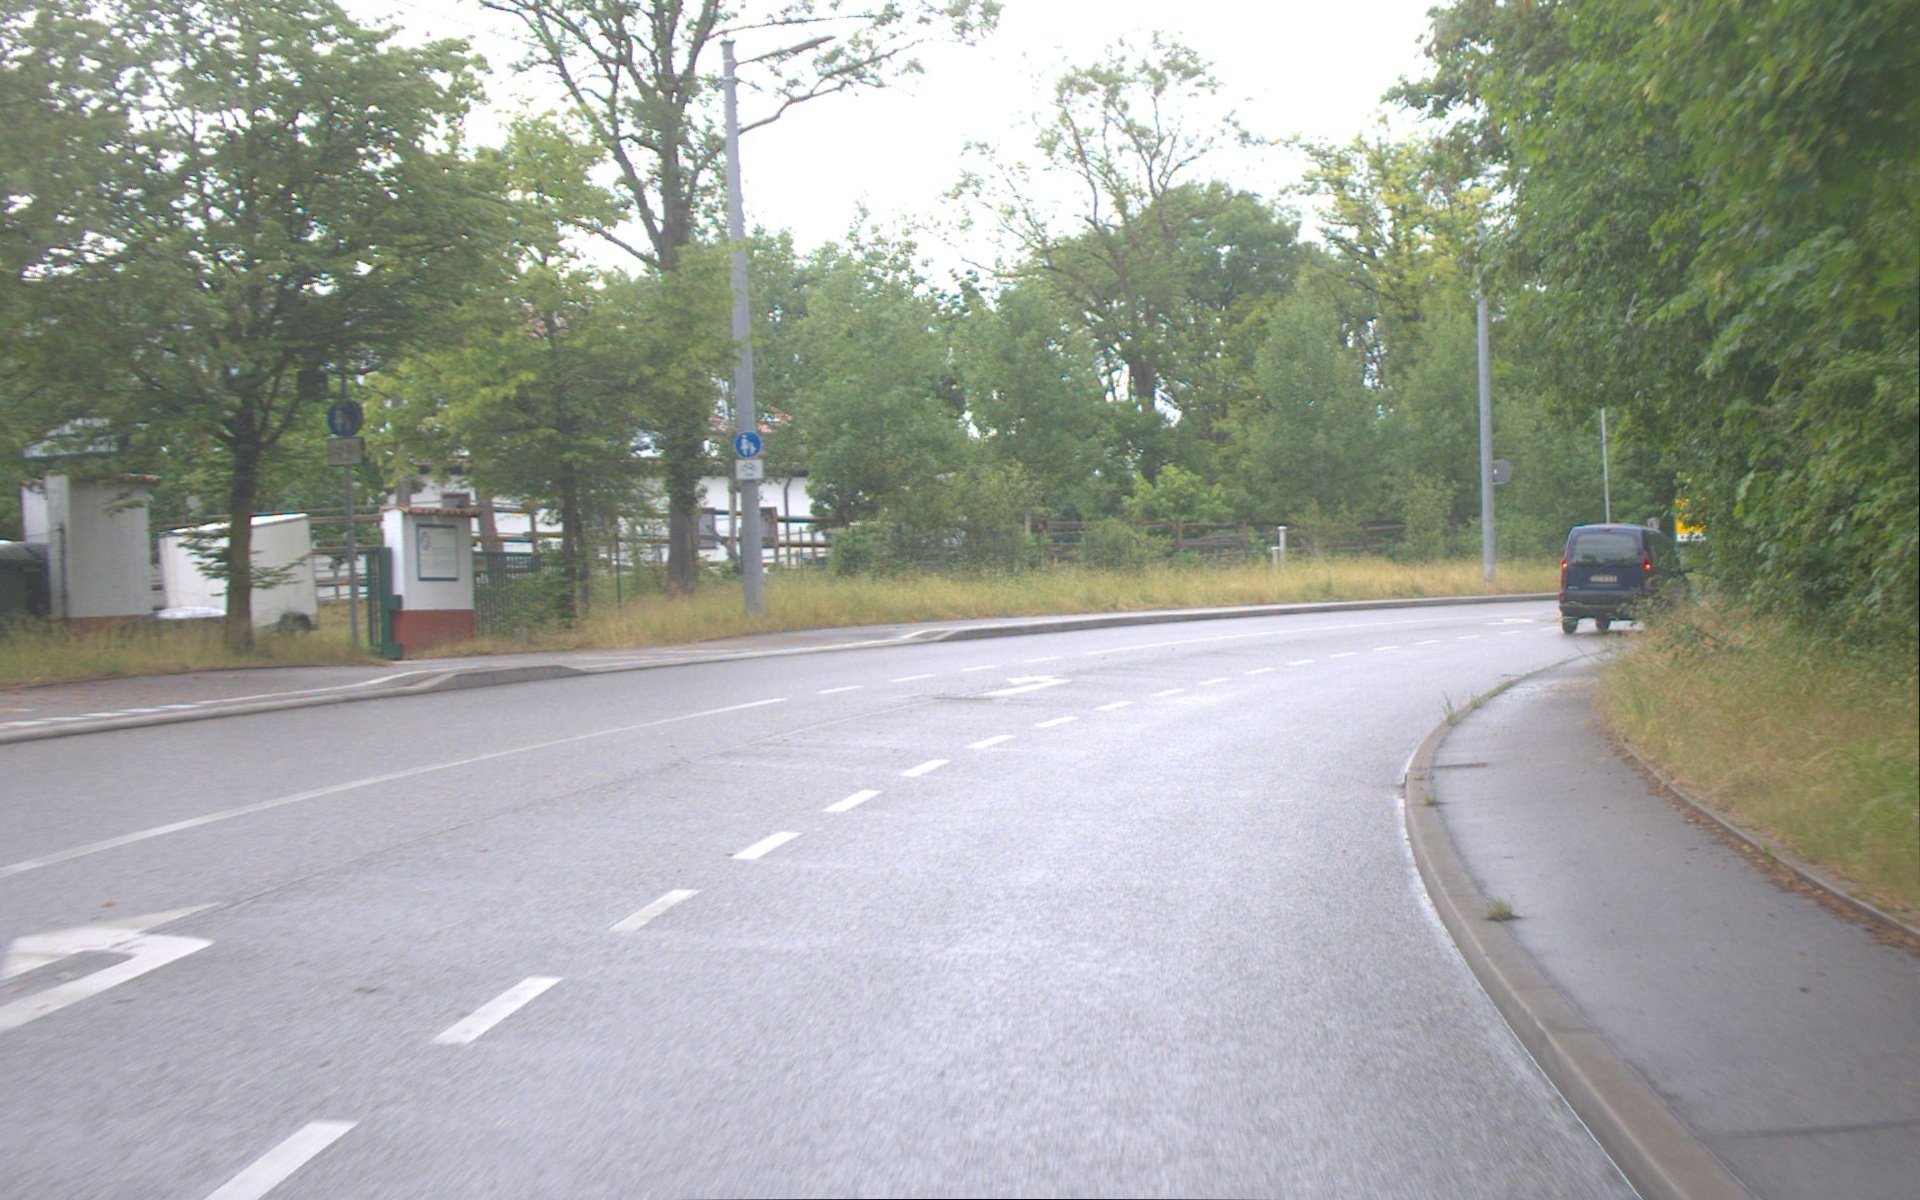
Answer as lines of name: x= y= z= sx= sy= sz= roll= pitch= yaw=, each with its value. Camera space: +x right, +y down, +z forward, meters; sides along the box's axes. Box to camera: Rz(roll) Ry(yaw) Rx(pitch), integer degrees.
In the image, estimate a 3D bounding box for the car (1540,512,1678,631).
car: x=11.074 y=-0.495 z=58.484 sx=1.828 sy=1.788 sz=3.997 roll=-5 pitch=-1 yaw=15
